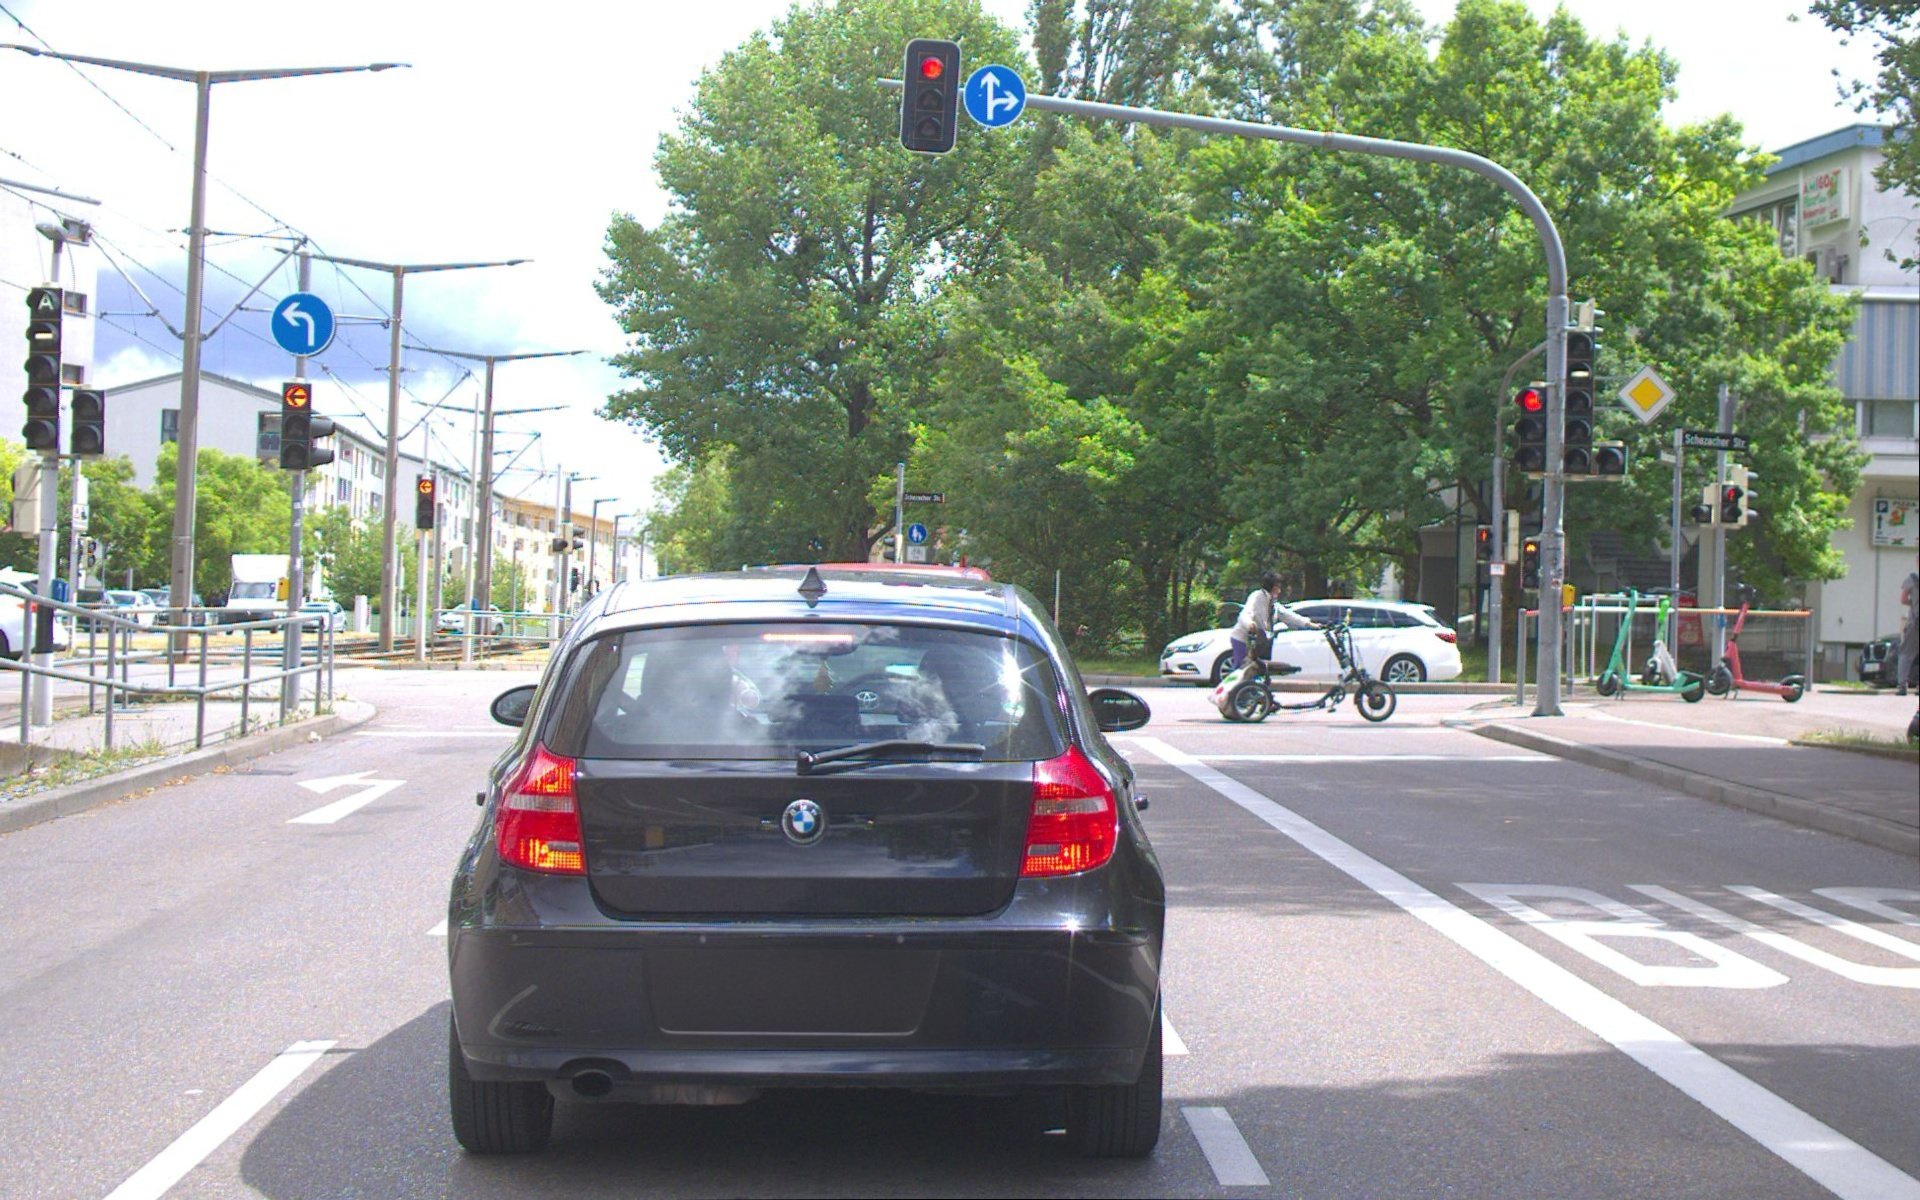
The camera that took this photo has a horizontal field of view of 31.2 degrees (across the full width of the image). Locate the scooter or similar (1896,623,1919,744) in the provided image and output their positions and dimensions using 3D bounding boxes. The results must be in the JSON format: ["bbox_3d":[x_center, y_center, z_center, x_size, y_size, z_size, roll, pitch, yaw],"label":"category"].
[{"bbox_3d":[9.219,0.768,31.714,1.148,1.095,0.332,1,1,-24],"label":"scooter or similar"}]

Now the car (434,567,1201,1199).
[{"bbox_3d":[-0.278,0.637,9.236,1.654,1.414,3.517,1,1,1],"label":"car"}]

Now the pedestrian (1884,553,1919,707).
[{"bbox_3d":[11.378,0.366,40.859,0.614,1.784,0.568,5,1,18],"label":"pedestrian"}]

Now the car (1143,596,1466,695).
[{"bbox_3d":[5.323,0.698,53.425,4.638,1.475,2.001,0,1,-9],"label":"car"}]

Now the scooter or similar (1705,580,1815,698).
[{"bbox_3d":[8.608,0.417,36.983,1.106,1.253,0.332,0,1,-12],"label":"scooter or similar"}]

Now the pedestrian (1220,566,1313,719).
[{"bbox_3d":[2.938,0.399,32.940,0.865,1.438,0.798,1,1,5],"label":"pedestrian"}]

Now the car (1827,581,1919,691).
[{"bbox_3d":[15.011,0.540,51.397,3.576,1.595,1.712,1,0,-12],"label":"car"}]

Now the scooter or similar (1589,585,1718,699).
[{"bbox_3d":[7.293,0.436,36.157,1.287,1.185,0.385,0,1,-16],"label":"scooter or similar"}]

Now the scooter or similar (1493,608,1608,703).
[{"bbox_3d":[5.996,0.564,34.891,1.119,0.954,0.300,0,1,-16],"label":"scooter or similar"}]

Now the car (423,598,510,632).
[{"bbox_3d":[-23.918,0.696,166.670,1.970,1.590,3.992,1,1,34],"label":"car"}]

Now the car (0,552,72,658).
[{"bbox_3d":[-15.368,0.052,50.109,4.571,1.521,1.945,0,1,-11],"label":"car"}]

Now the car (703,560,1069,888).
[{"bbox_3d":[-0.325,0.526,16.907,1.594,1.414,3.517,1,1,0],"label":"car"}]

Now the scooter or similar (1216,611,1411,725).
[{"bbox_3d":[3.351,0.644,32.592,1.780,1.047,0.410,0,1,-7],"label":"scooter or similar"}]

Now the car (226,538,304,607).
[{"bbox_3d":[-27.445,-1.105,135.897,2.139,2.631,5.359,1,1,-2],"label":"car"}]

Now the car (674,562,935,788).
[{"bbox_3d":[-1.063,0.463,23.777,1.654,1.414,3.517,1,1,-2],"label":"car"}]
